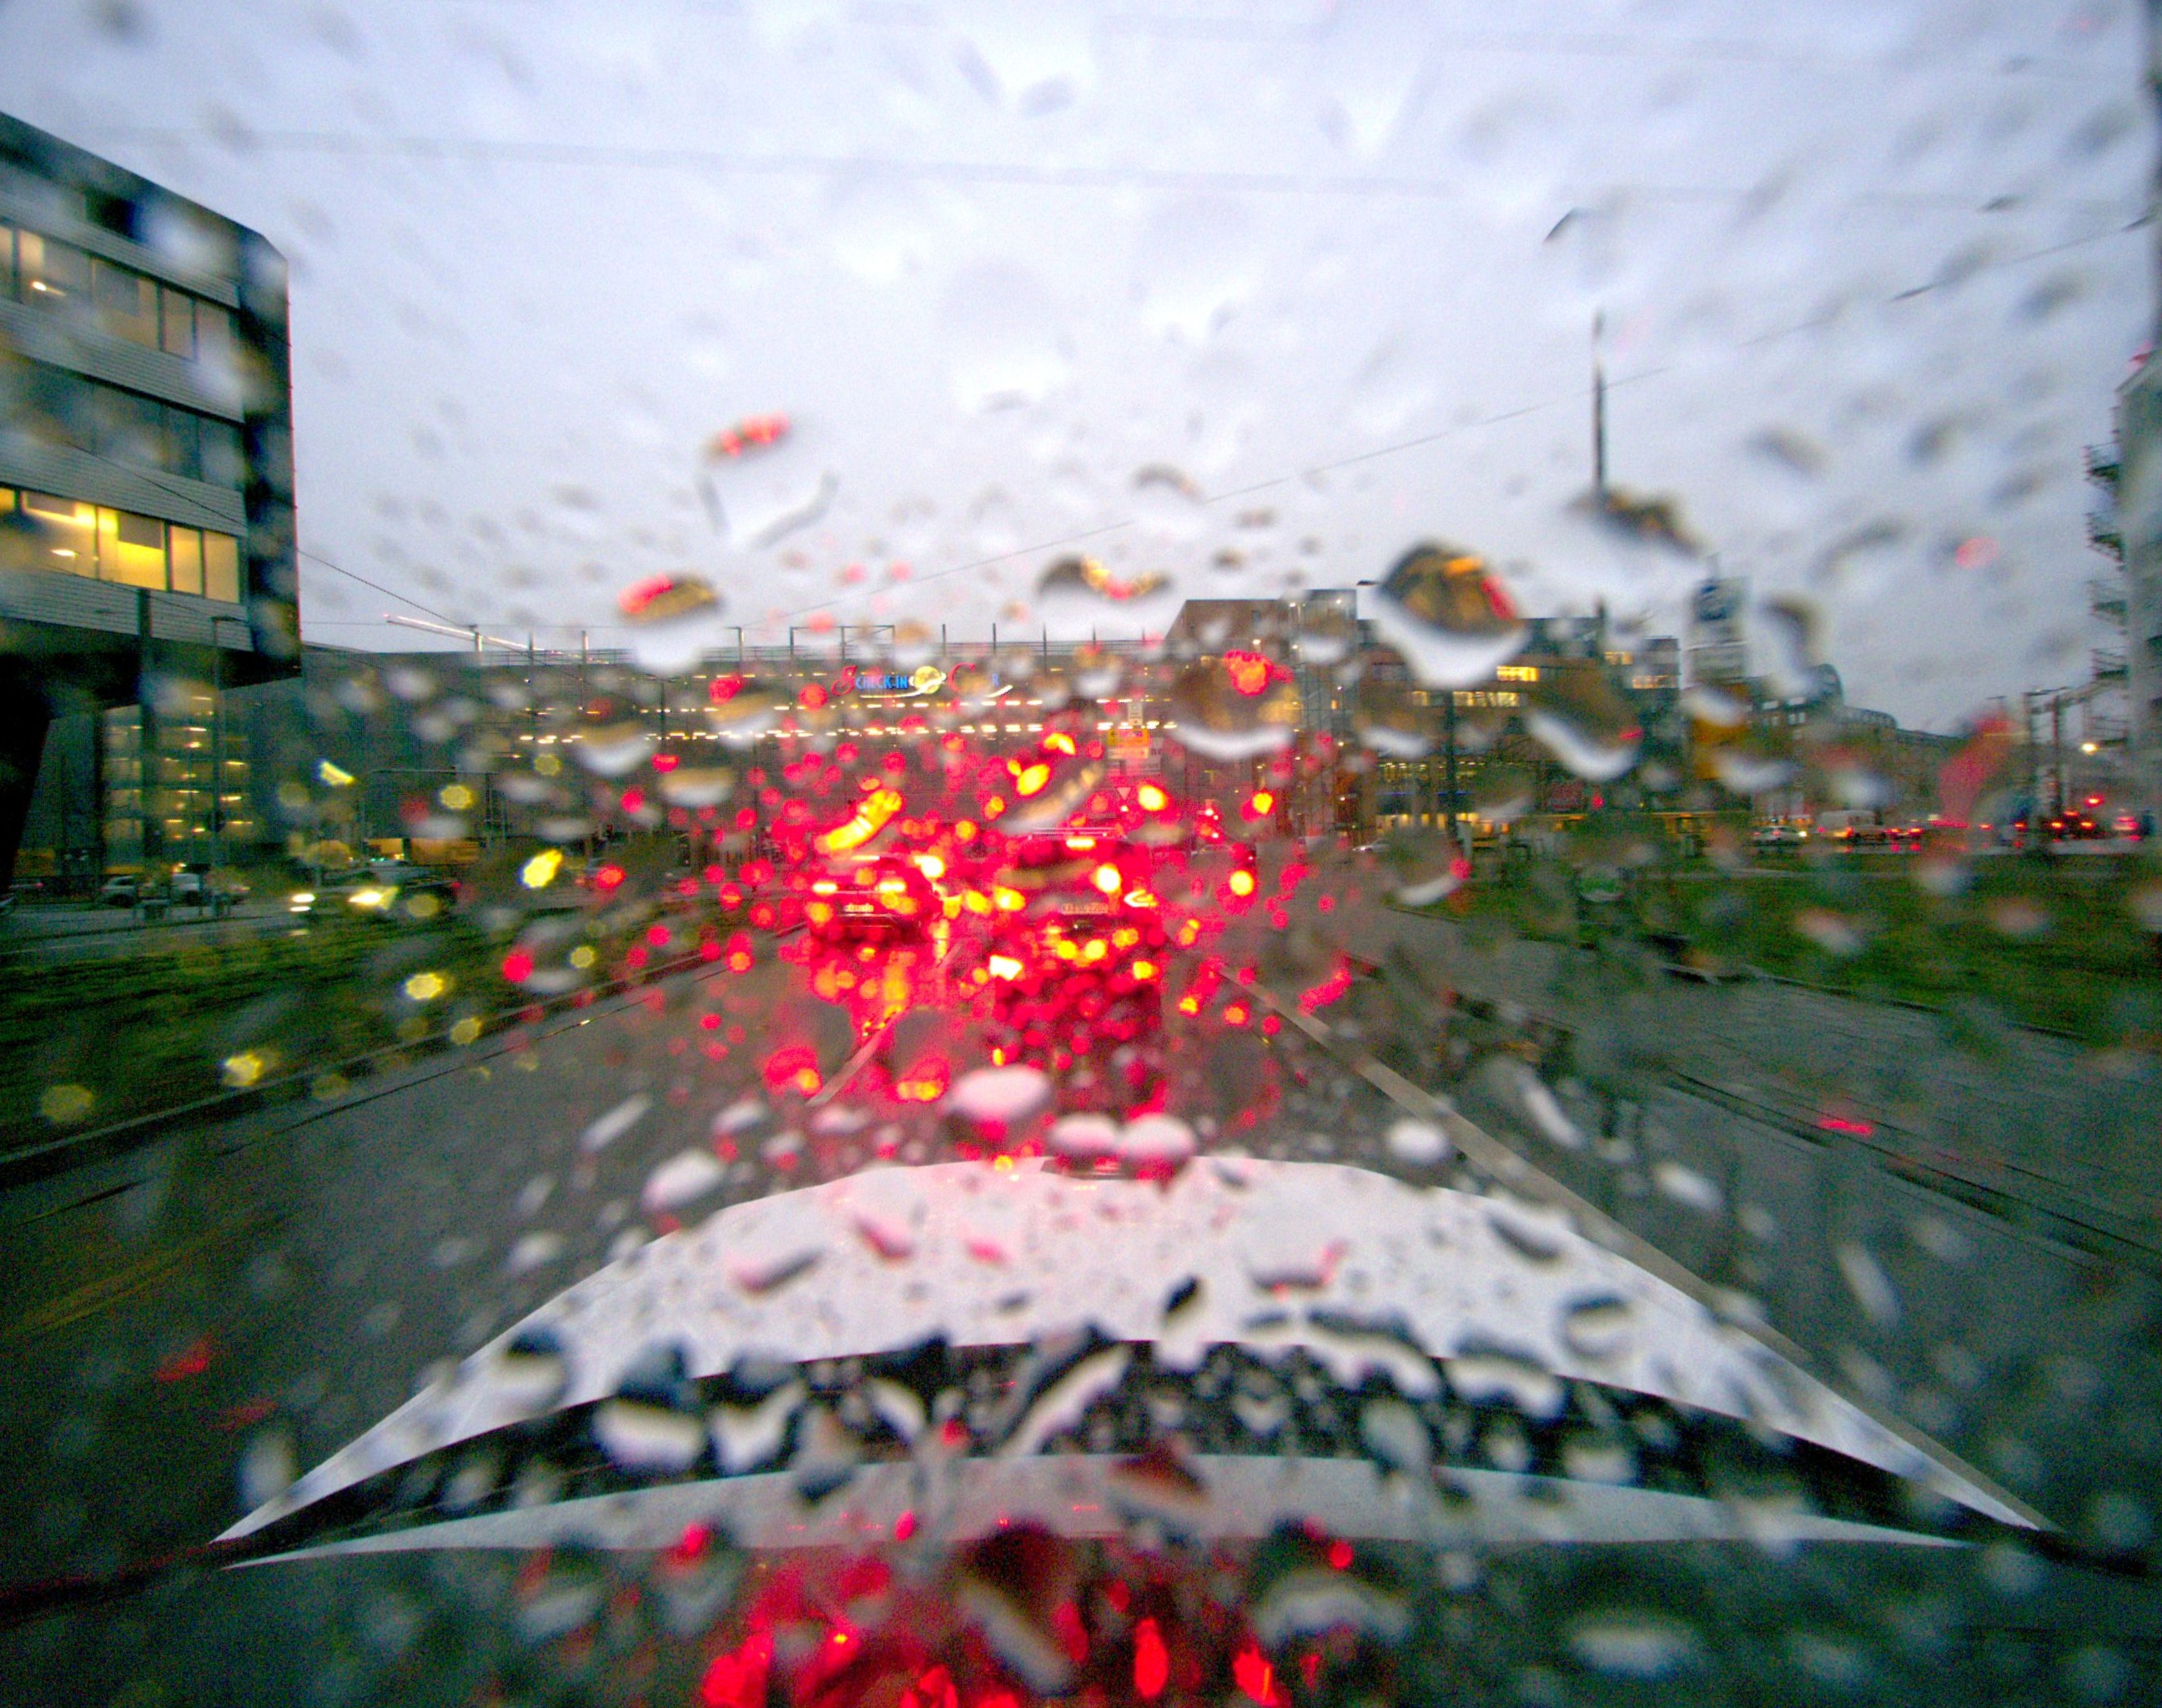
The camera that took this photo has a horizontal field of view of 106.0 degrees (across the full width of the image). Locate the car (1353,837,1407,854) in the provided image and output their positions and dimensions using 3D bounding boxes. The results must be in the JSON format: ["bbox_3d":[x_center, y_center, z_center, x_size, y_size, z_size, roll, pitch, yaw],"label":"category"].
[{"bbox_3d":[26.925,-0.784,73.465,4.213,1.390,1.795,-2,0,-8],"label":"car"}]

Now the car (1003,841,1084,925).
[{"bbox_3d":[-0.921,0.590,18.388,1.633,1.697,3.664,-1,0,-5],"label":"car"}]

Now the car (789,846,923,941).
[{"bbox_3d":[-4.223,0.672,15.913,1.750,1.574,3.993,-2,0,-5],"label":"car"}]

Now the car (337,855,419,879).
[{"bbox_3d":[-60.434,1.103,70.098,5.073,1.962,1.887,0,0,-7],"label":"car"}]

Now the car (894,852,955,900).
[{"bbox_3d":[-4.522,0.603,23.988,1.540,1.251,4.056,-2,0,-8],"label":"car"}]

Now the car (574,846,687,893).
[{"bbox_3d":[-20.488,0.654,37.224,3.990,1.874,1.992,-3,1,-12],"label":"car"}]

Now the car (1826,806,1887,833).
[{"bbox_3d":[61.688,-2.692,64.769,4.959,2.013,1.983,0,0,-27],"label":"car"}]

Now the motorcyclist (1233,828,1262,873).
[{"bbox_3d":[5.896,-0.140,28.872,0.864,1.534,1.109,-2,0,5],"label":"motorcyclist"}]

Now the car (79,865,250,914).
[{"bbox_3d":[-39.251,1.489,34.996,4.669,1.850,1.825,-2,-1,-11],"label":"car"}]

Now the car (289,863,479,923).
[{"bbox_3d":[-18.940,0.993,22.451,1.654,1.400,4.515,0,1,-5],"label":"car"}]

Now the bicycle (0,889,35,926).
[{"bbox_3d":[-33.657,1.682,25.120,0.551,1.090,1.614,-2,0,7],"label":"bicycle"}]

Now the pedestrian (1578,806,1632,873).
[{"bbox_3d":[15.219,-0.420,23.673,1.160,1.924,0.903,1,0,22],"label":"pedestrian"}]

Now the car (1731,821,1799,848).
[{"bbox_3d":[52.301,-1.494,62.310,3.988,2.013,1.993,0,0,-11],"label":"car"}]

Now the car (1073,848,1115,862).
[{"bbox_3d":[1.190,0.054,75.587,3.755,1.165,1.677,-2,0,-7],"label":"car"}]

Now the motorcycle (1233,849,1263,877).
[{"bbox_3d":[5.906,0.308,28.933,0.849,0.971,1.584,-2,0,5],"label":"motorcycle"}]

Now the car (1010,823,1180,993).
[{"bbox_3d":[0.041,0.546,10.470,1.731,1.738,4.242,0,0,-3],"label":"car"}]

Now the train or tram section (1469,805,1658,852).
[{"bbox_3d":[38.915,-2.056,65.447,16.641,3.260,2.324,-2,0,-17],"label":"train or tram section"}]

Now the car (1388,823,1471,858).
[{"bbox_3d":[20.920,-0.810,48.953,4.366,2.013,1.988,0,0,-18],"label":"car"}]

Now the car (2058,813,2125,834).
[{"bbox_3d":[80.111,-2.415,64.599,4.084,1.583,1.988,0,0,-18],"label":"car"}]

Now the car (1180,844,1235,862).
[{"bbox_3d":[11.013,-0.064,71.146,4.417,1.390,1.795,-2,0,-8],"label":"car"}]

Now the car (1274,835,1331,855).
[{"bbox_3d":[19.542,-0.766,71.900,4.418,1.595,1.794,-2,0,-10],"label":"car"}]
